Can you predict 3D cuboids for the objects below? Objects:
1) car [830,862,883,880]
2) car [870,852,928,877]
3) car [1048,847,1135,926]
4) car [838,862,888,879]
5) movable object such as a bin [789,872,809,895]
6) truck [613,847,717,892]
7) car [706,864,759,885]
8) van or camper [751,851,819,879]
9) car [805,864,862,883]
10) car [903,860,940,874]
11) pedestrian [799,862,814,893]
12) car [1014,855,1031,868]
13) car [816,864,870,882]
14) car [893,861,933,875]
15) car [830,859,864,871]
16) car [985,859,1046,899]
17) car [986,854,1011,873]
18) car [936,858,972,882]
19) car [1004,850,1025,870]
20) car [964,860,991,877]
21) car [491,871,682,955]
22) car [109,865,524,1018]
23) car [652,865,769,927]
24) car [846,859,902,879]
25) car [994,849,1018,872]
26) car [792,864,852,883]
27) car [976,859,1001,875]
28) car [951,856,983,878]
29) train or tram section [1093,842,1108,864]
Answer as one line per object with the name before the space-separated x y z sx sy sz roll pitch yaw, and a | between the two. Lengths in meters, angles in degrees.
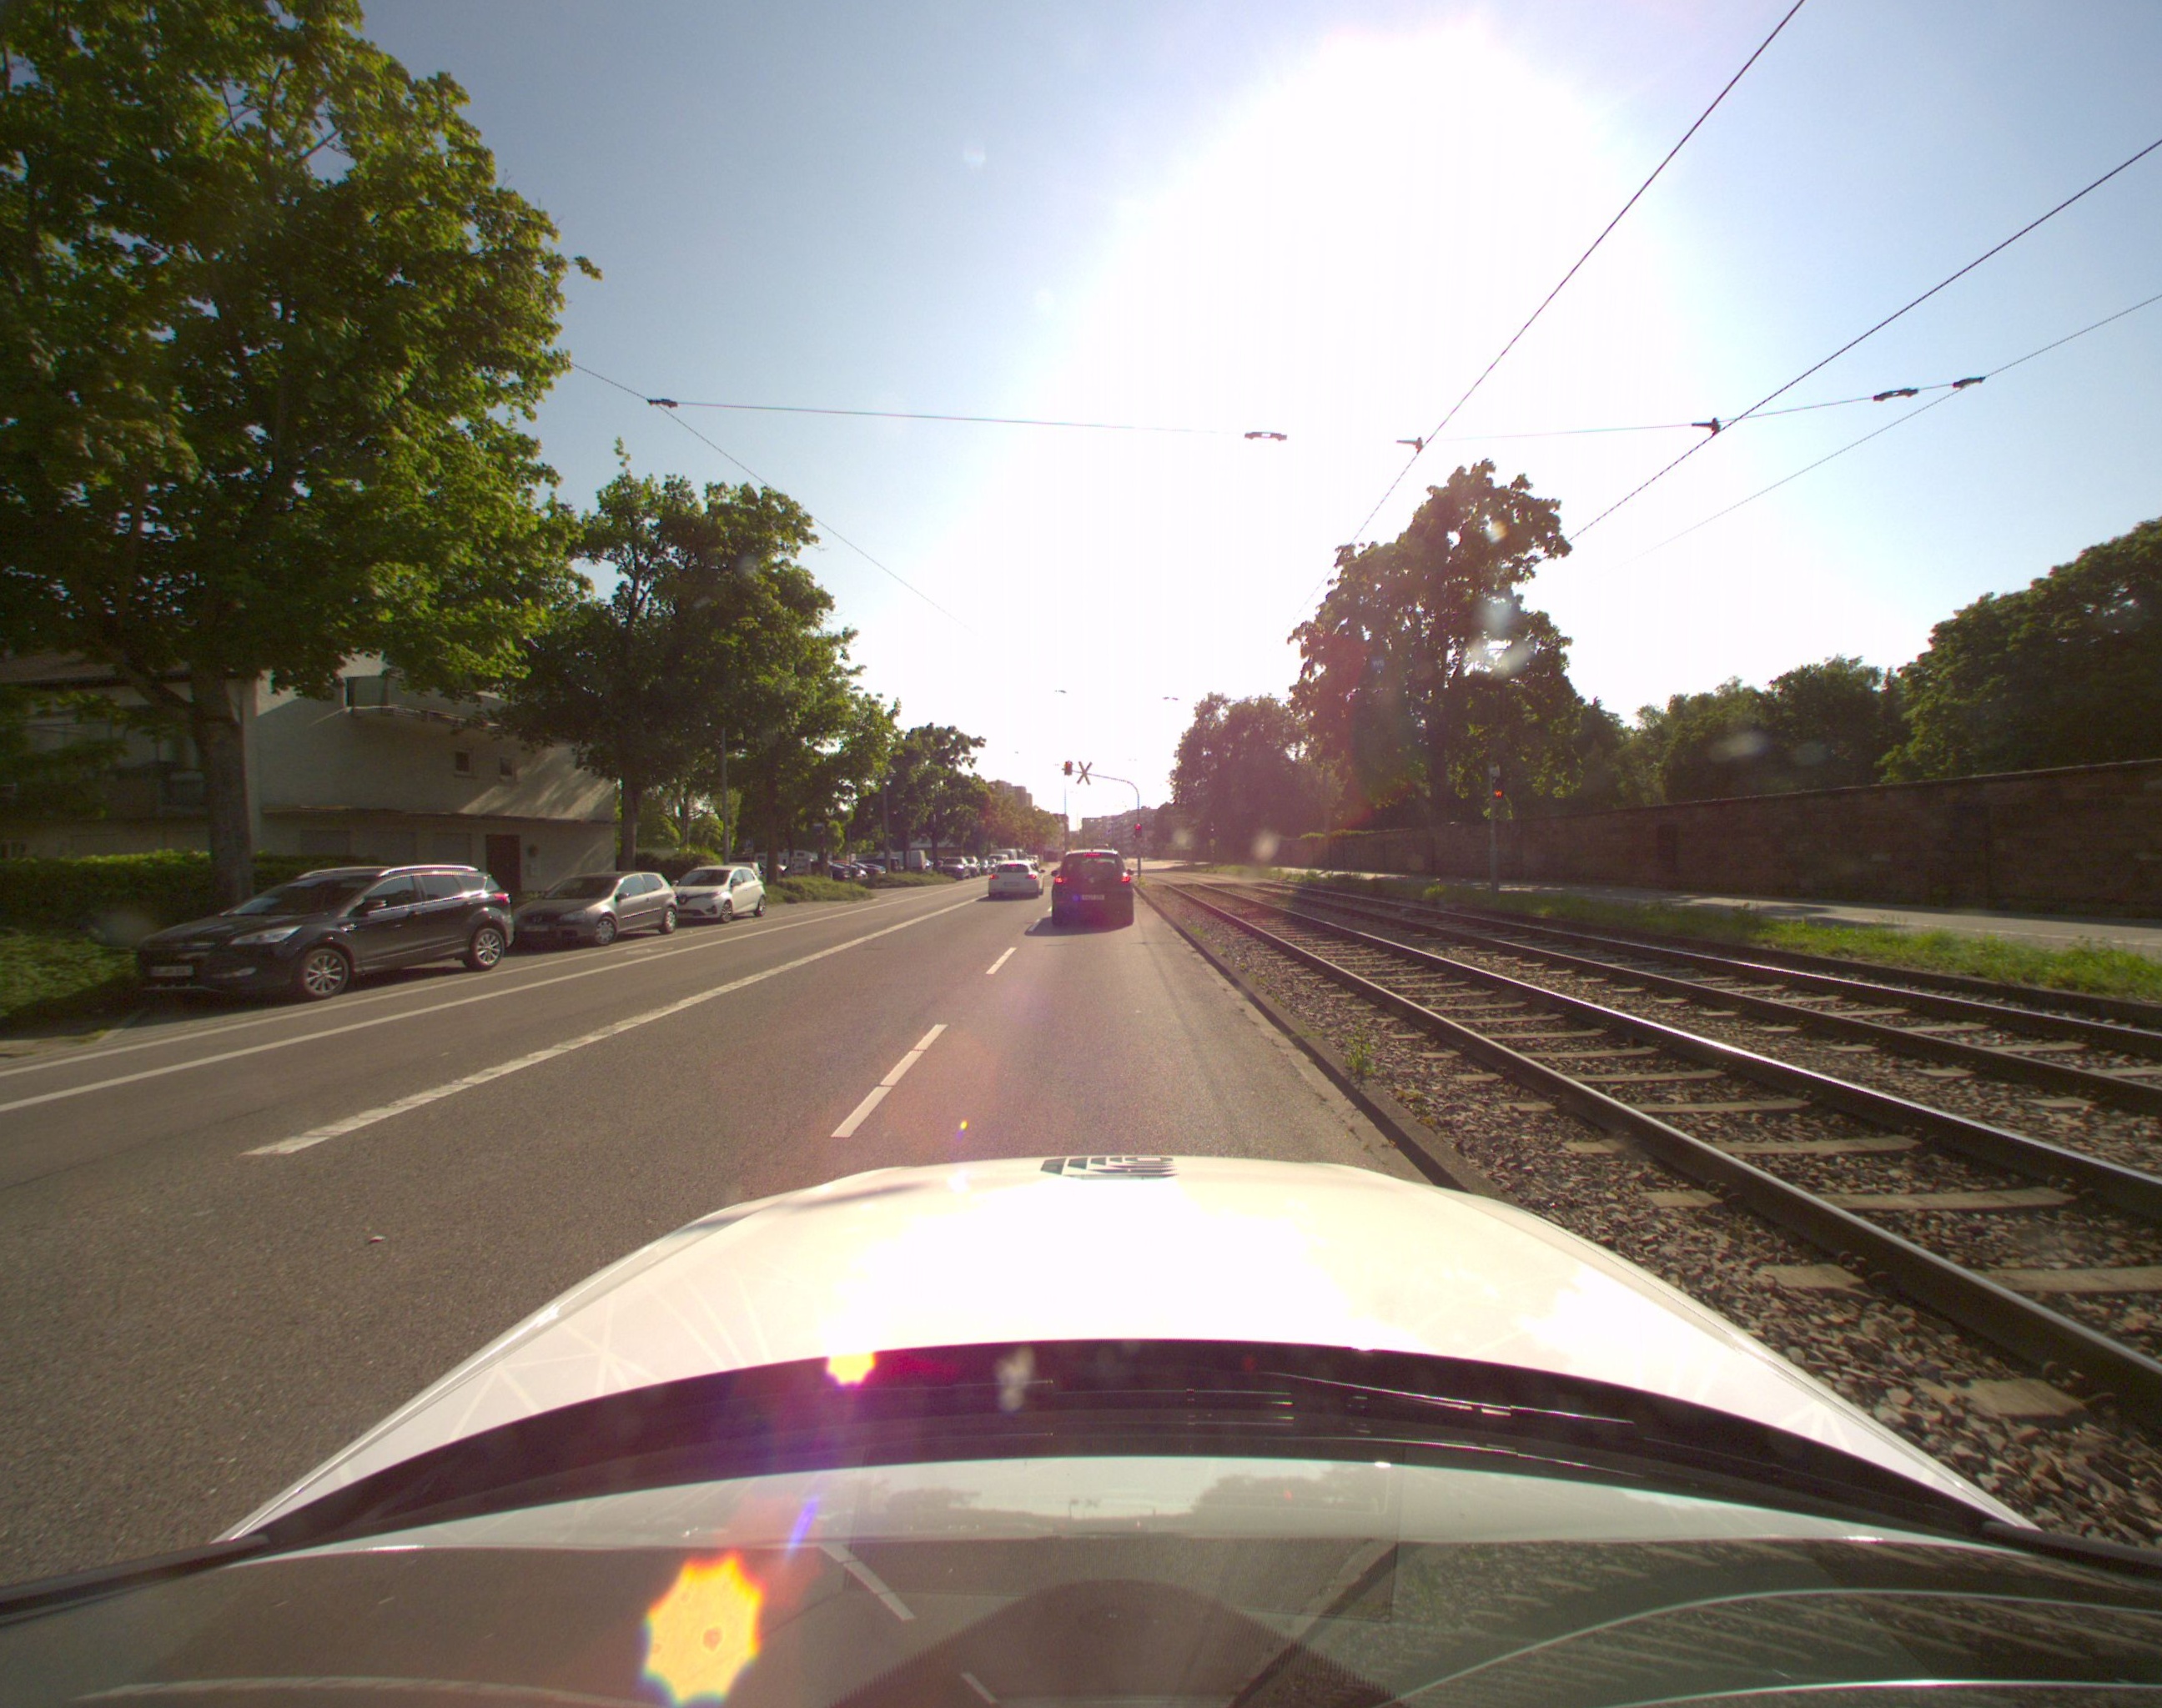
car | -19.341 1.463 70.272 3.976 1.397 1.736 -2 0 -2
car | -18.684 1.070 83.669 5.356 2.423 2.088 -2 0 1
car | 0.287 0.699 19.130 1.804 1.645 4.001 -1 0 2
car | -19.551 1.475 73.244 3.976 1.397 1.736 -2 0 -2
movable object such as a bin | -14.765 1.526 42.726 0.540 1.146 1.261 -2 0 2
truck | -32.312 1.214 63.454 6.941 3.242 1.987 -2 0 -1
car | -31.453 1.823 73.593 3.981 1.728 1.623 -2 0 -6
van or camper | -32.164 1.164 88.579 6.439 2.868 2.308 -1 0 2
car | -19.622 1.546 64.773 3.976 1.307 1.736 -2 0 -2
car | -18.469 1.499 94.546 3.976 1.397 1.736 -2 0 -2
pedestrian | -14.731 1.270 43.670 0.522 1.628 0.610 -2 0 1
car | -7.781 0.980 108.778 1.724 1.694 4.003 -2 0 3
car | -19.890 1.561 68.065 3.976 1.307 1.736 -2 0 -2
car | -18.303 1.483 89.069 3.976 1.397 1.736 -2 0 -2
car | -31.227 1.495 108.826 3.976 1.397 1.736 -2 0 -2
car | -2.393 0.892 30.681 1.858 1.348 4.002 -1 0 2
car | -8.436 0.964 83.627 1.724 1.860 4.493 -2 0 3
car | -9.396 1.135 60.526 1.724 1.658 4.003 -2 0 3
car | -7.908 0.674 97.129 1.724 2.268 4.648 -2 0 3
car | -9.178 1.249 72.431 1.724 1.389 3.738 -2 0 3
car | -10.401 1.166 17.513 1.672 1.468 3.967 -1 0 -1
car | -10.459 1.051 11.735 1.667 1.694 4.424 -1 0 2
car | -10.339 1.118 23.036 1.596 1.550 3.892 0 0 -2
car | -19.200 1.348 75.628 4.604 1.651 2.048 -2 0 -1
car | -8.315 0.708 90.304 1.856 2.347 4.989 -2 0 3
car | -19.756 1.486 62.182 3.976 1.307 1.736 -2 0 -2
car | -8.899 1.236 78.312 1.724 1.450 3.738 -2 0 3
car | -9.230 1.020 66.117 1.724 1.694 4.003 -2 0 3
train or tram section | 3.349 -0.133 135.949 2.318 3.570 8.903 -2 0 2
